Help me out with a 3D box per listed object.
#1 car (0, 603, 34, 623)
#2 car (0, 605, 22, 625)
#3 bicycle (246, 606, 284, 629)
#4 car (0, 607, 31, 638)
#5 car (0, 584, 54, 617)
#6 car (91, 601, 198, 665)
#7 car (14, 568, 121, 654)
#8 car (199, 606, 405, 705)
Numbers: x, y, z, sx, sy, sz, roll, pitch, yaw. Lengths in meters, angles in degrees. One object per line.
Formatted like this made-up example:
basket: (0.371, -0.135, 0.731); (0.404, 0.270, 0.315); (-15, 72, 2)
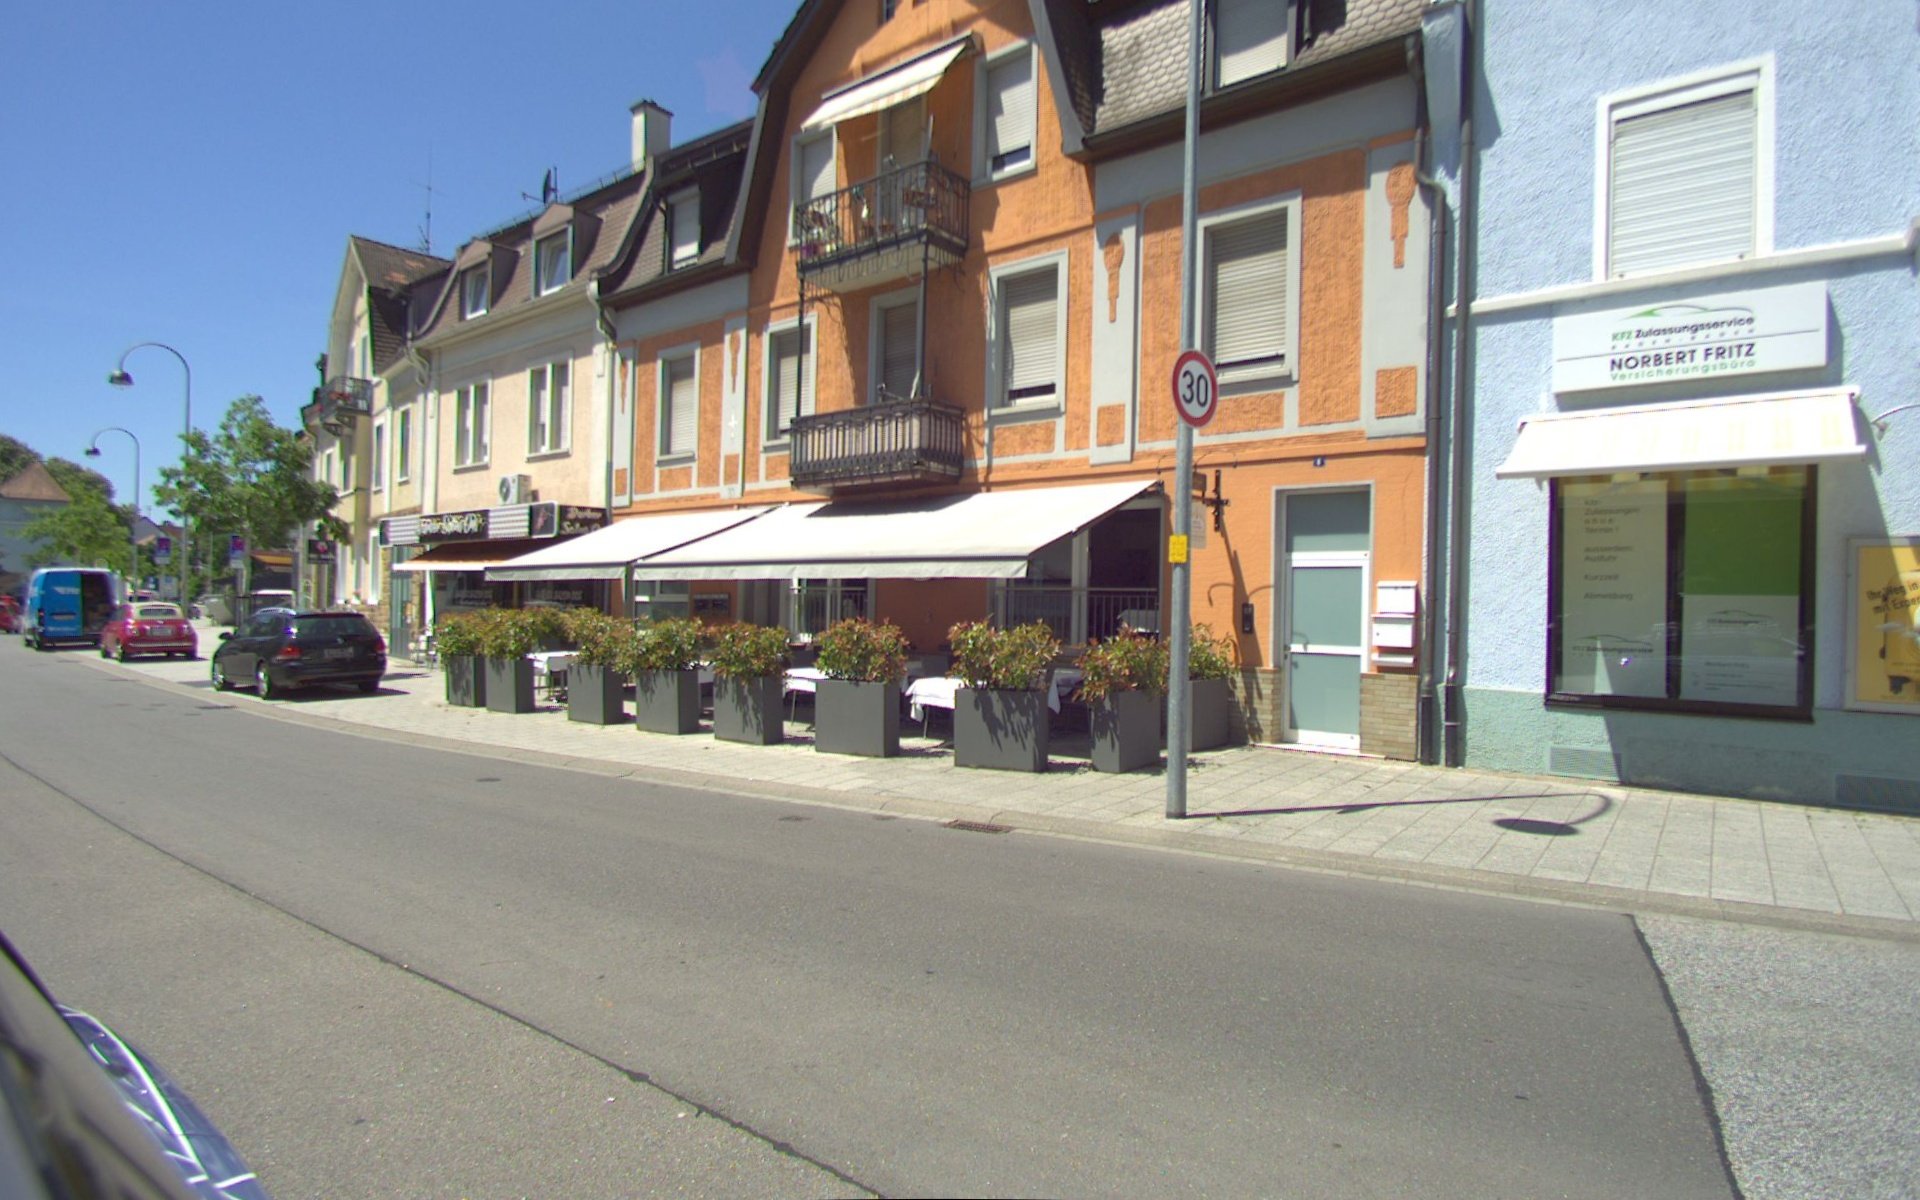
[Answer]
car: (-76.456, 1.026, 80.175); (4.289, 1.562, 1.656); (2, -1, -35)
car: (-73.760, 1.119, 76.612); (3.756, 1.473, 1.657); (2, -1, -33)
bicycle: (-39.520, 0.968, 57.525); (1.742, 1.243, 0.617); (-2, 0, -38)
car: (-45.238, 1.036, 47.366); (1.889, 1.437, 3.991); (2, -2, -33)
car: (-82.619, 0.066, 88.444); (4.788, 2.757, 1.856); (3, -2, -31)
car: (-21.541, 0.829, 26.692); (3.513, 1.532, 1.544); (1, 0, 40)
car: (-28.334, 0.314, 32.061); (5.504, 2.517, 2.069); (0, 0, 43)
car: (-11.716, 0.872, 17.918); (4.334, 1.493, 1.896); (0, 1, 40)
